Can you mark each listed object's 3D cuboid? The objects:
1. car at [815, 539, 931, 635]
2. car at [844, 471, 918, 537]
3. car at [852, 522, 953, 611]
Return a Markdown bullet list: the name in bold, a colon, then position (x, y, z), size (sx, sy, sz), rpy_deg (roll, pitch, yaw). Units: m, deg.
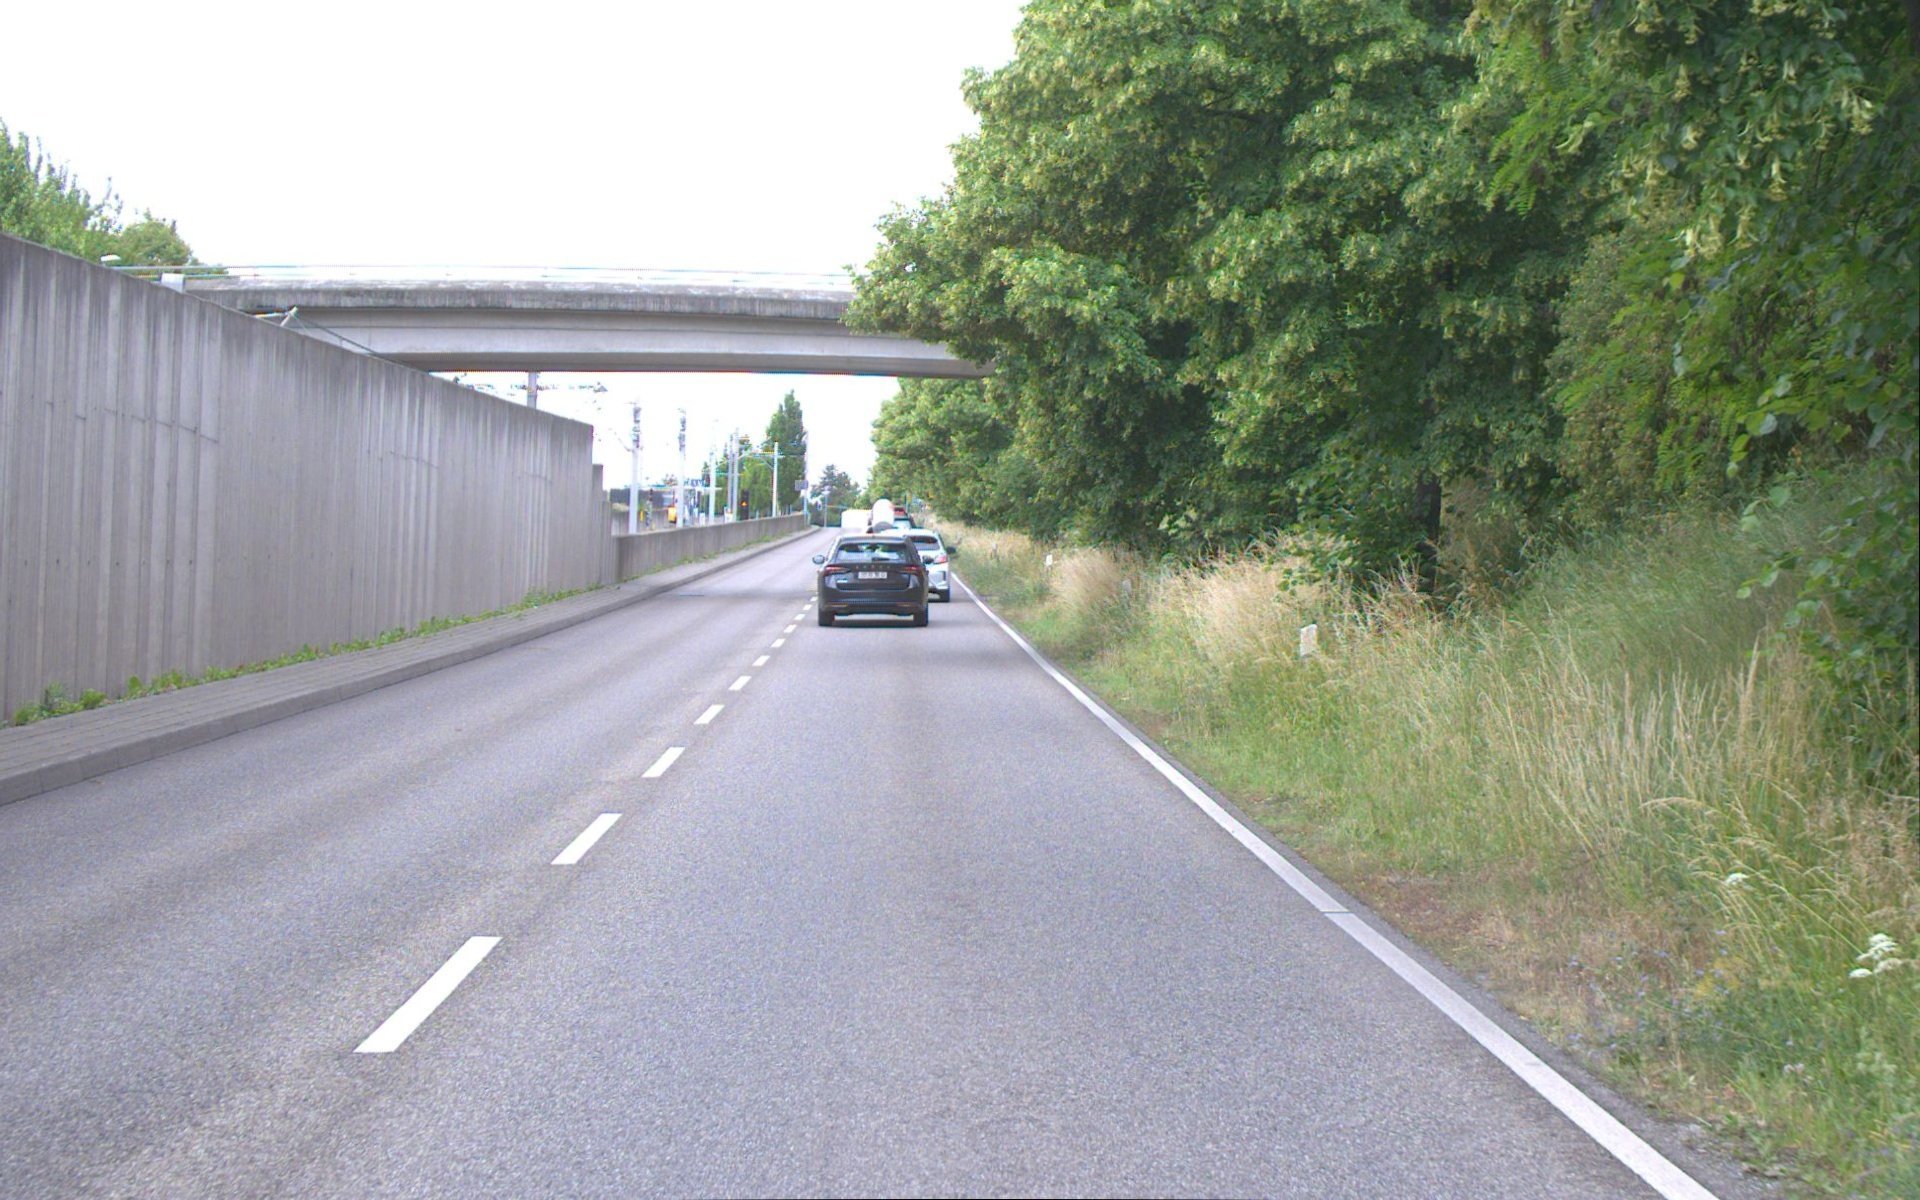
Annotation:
- **car**: position (-1.396, -0.238, 55.570), size (1.781, 1.463, 4.000), rpy_deg (1, 1, -1)
- **car**: position (-2.174, -2.641, 95.470), size (1.993, 1.734, 4.000), rpy_deg (1, 0, -1)
- **car**: position (-1.191, -0.701, 71.056), size (1.993, 1.747, 4.000), rpy_deg (1, 1, -1)
